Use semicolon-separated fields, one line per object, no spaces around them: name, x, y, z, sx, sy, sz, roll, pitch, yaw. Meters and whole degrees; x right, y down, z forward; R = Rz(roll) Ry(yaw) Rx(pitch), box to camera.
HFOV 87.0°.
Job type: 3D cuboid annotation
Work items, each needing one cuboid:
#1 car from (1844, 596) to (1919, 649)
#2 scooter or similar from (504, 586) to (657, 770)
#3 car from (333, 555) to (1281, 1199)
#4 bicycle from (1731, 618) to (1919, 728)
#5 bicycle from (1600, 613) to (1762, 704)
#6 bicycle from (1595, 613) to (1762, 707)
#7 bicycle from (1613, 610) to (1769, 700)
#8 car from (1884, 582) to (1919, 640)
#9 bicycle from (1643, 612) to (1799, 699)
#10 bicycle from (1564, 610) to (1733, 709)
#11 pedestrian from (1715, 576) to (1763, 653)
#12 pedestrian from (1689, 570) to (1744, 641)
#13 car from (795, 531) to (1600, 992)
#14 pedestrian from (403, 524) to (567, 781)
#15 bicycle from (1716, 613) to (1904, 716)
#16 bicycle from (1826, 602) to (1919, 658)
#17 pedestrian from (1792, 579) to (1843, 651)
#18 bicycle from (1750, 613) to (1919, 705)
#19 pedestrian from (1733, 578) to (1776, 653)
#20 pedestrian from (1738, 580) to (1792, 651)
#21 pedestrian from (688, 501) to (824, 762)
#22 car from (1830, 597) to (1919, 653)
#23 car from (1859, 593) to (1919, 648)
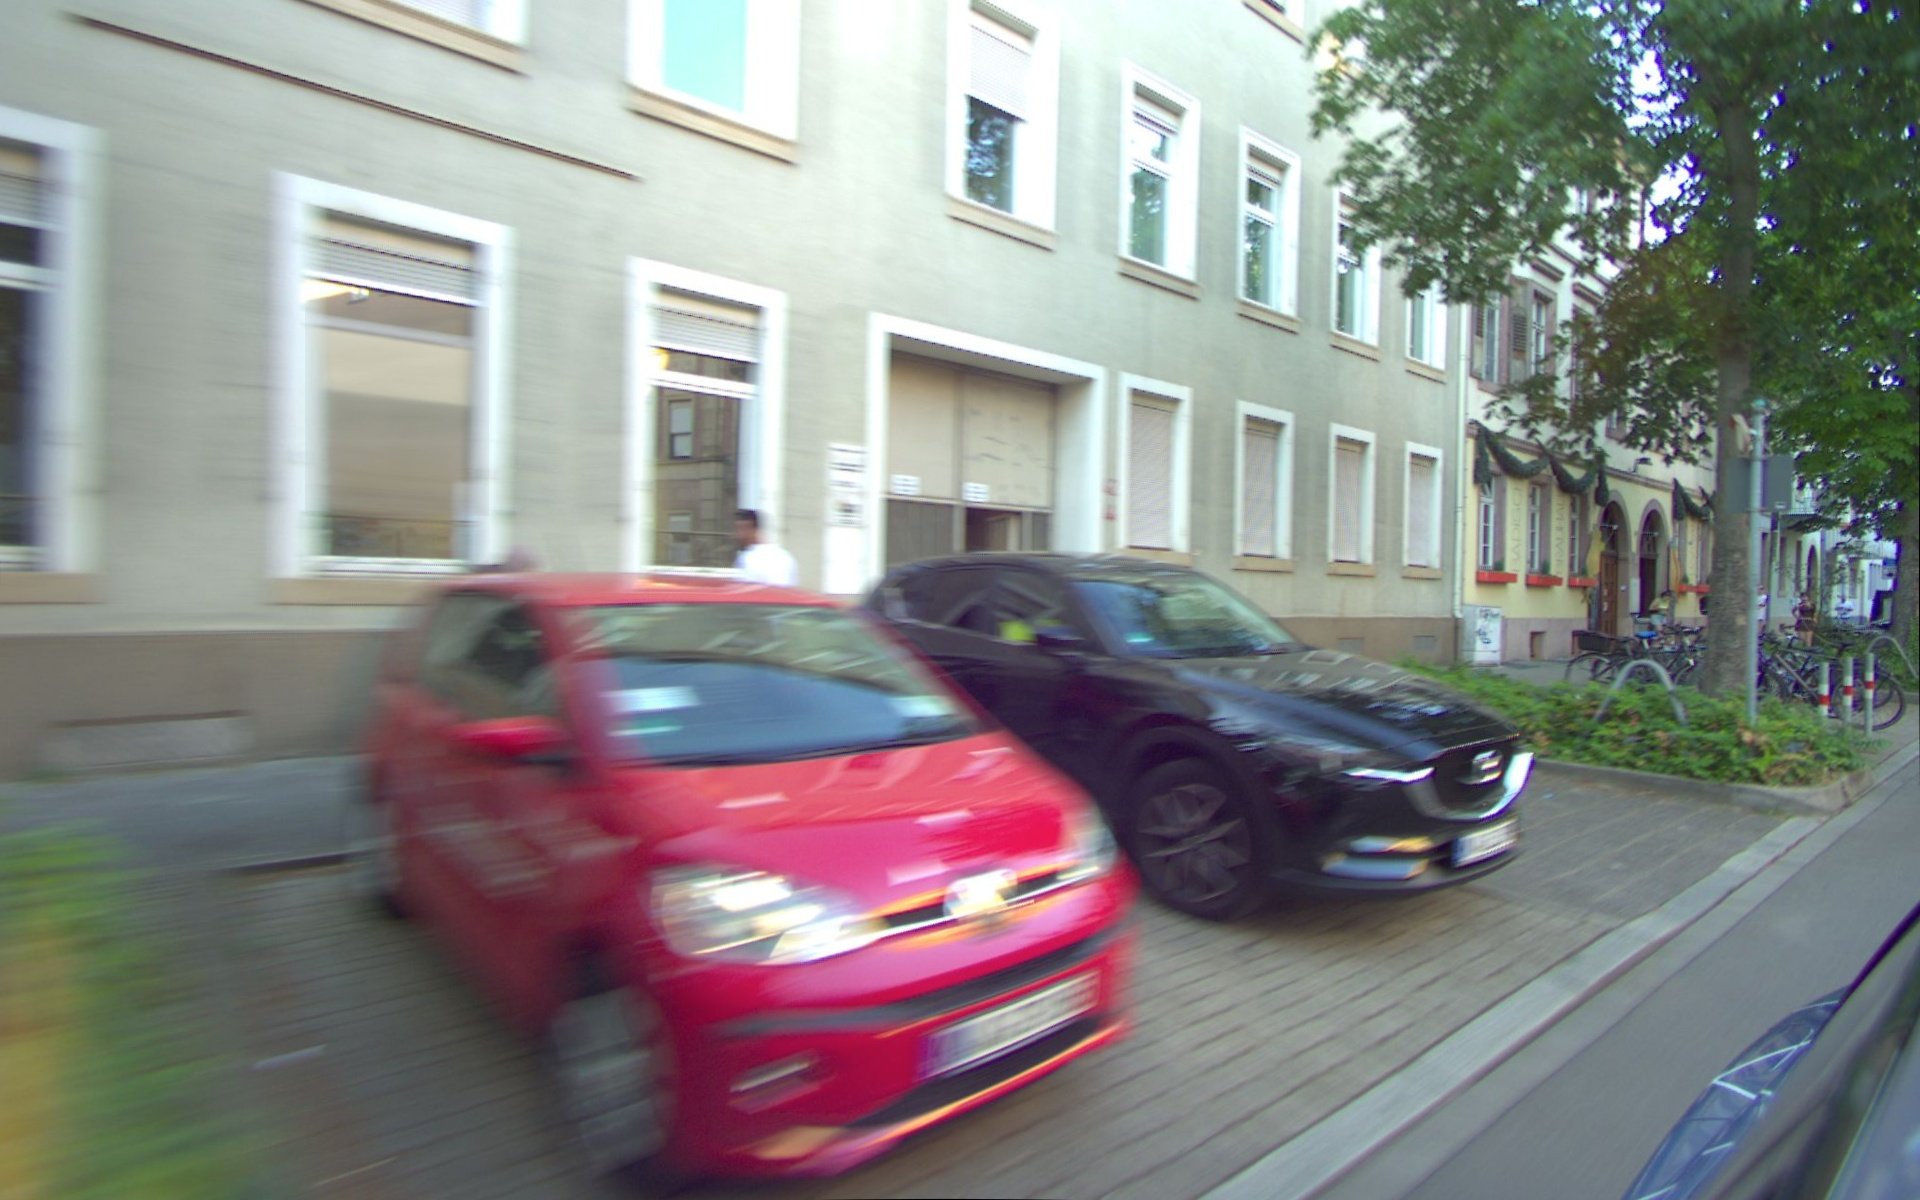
car;29.307;0.761;30.316;1.893;1.455;3.996;0;4;-41
scooter or similar;-2.642;0.503;7.041;0.816;1.167;0.656;1;1;-39
car;-0.889;0.623;3.768;1.867;1.470;3.489;1;2;-42
bicycle;10.665;0.858;12.434;1.835;1.149;0.734;3;2;40
bicycle;10.236;0.795;14.427;0.492;1.121;1.795;1;2;-45
bicycle;9.916;0.797;14.013;0.492;1.121;1.795;1;2;-45
bicycle;10.825;0.781;15.027;1.793;1.157;0.641;3;2;42
car;36.865;0.552;36.665;2.001;2.035;4.701;1;4;-40
bicycle;11.553;0.807;15.405;1.795;1.142;0.653;3;2;45
bicycle;9.294;0.766;13.709;1.793;1.157;0.659;3;2;41
pedestrian;18.667;0.334;24.271;0.774;1.760;0.676;4;1;34
pedestrian;19.334;0.125;25.872;0.729;1.760;0.729;3;1;-13
car;0.947;0.521;6.006;1.865;1.676;4.437;1;1;-38
pedestrian;-3.116;0.310;6.633;0.816;1.555;0.656;1;1;-39
bicycle;11.385;0.824;13.612;0.590;1.193;1.833;1;2;-41
bicycle;23.103;0.731;25.552;1.793;1.247;0.663;5;3;41
pedestrian;21.486;0.371;25.355;0.712;1.760;0.709;2;1;-33
bicycle;12.998;0.840;15.058;0.661;1.193;1.833;1;2;-41
pedestrian;19.389;0.373;24.699;0.612;1.760;0.616;2;1;-40
pedestrian;20.505;0.389;25.773;0.732;1.760;0.716;3;1;-20
pedestrian;-1.451;0.196;7.250;0.683;1.758;0.670;2;1;19
car;27.612;0.805;28.534;1.853;1.410;4.410;0;4;-42
car;31.185;0.739;32.095;1.683;1.597;3.691;1;4;-39
